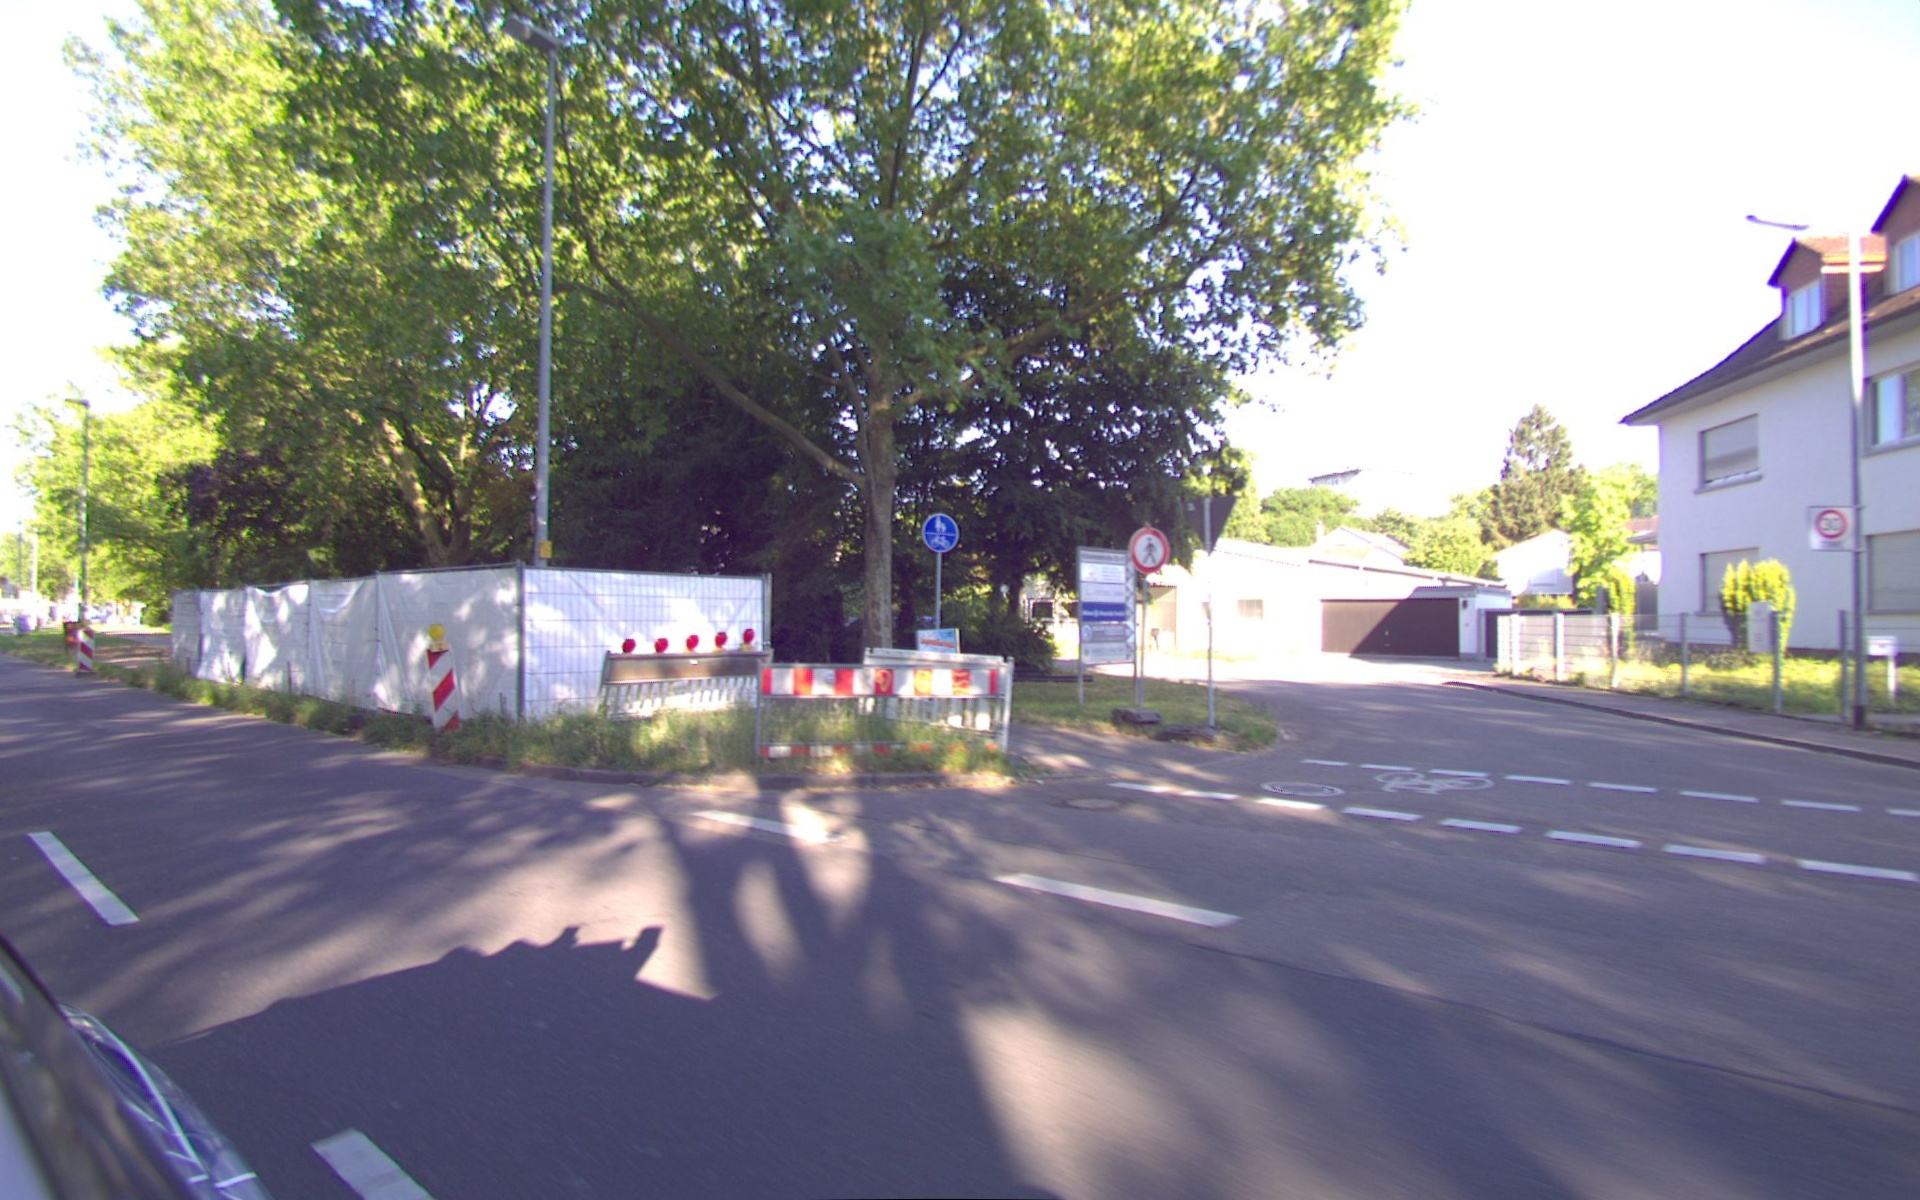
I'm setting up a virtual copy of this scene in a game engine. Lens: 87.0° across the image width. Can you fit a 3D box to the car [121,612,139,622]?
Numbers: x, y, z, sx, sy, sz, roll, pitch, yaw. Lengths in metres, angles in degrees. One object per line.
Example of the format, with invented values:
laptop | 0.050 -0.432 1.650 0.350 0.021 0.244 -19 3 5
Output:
car | -133.622 2.744 162.900 1.737 1.494 4.119 -2 0 -33
